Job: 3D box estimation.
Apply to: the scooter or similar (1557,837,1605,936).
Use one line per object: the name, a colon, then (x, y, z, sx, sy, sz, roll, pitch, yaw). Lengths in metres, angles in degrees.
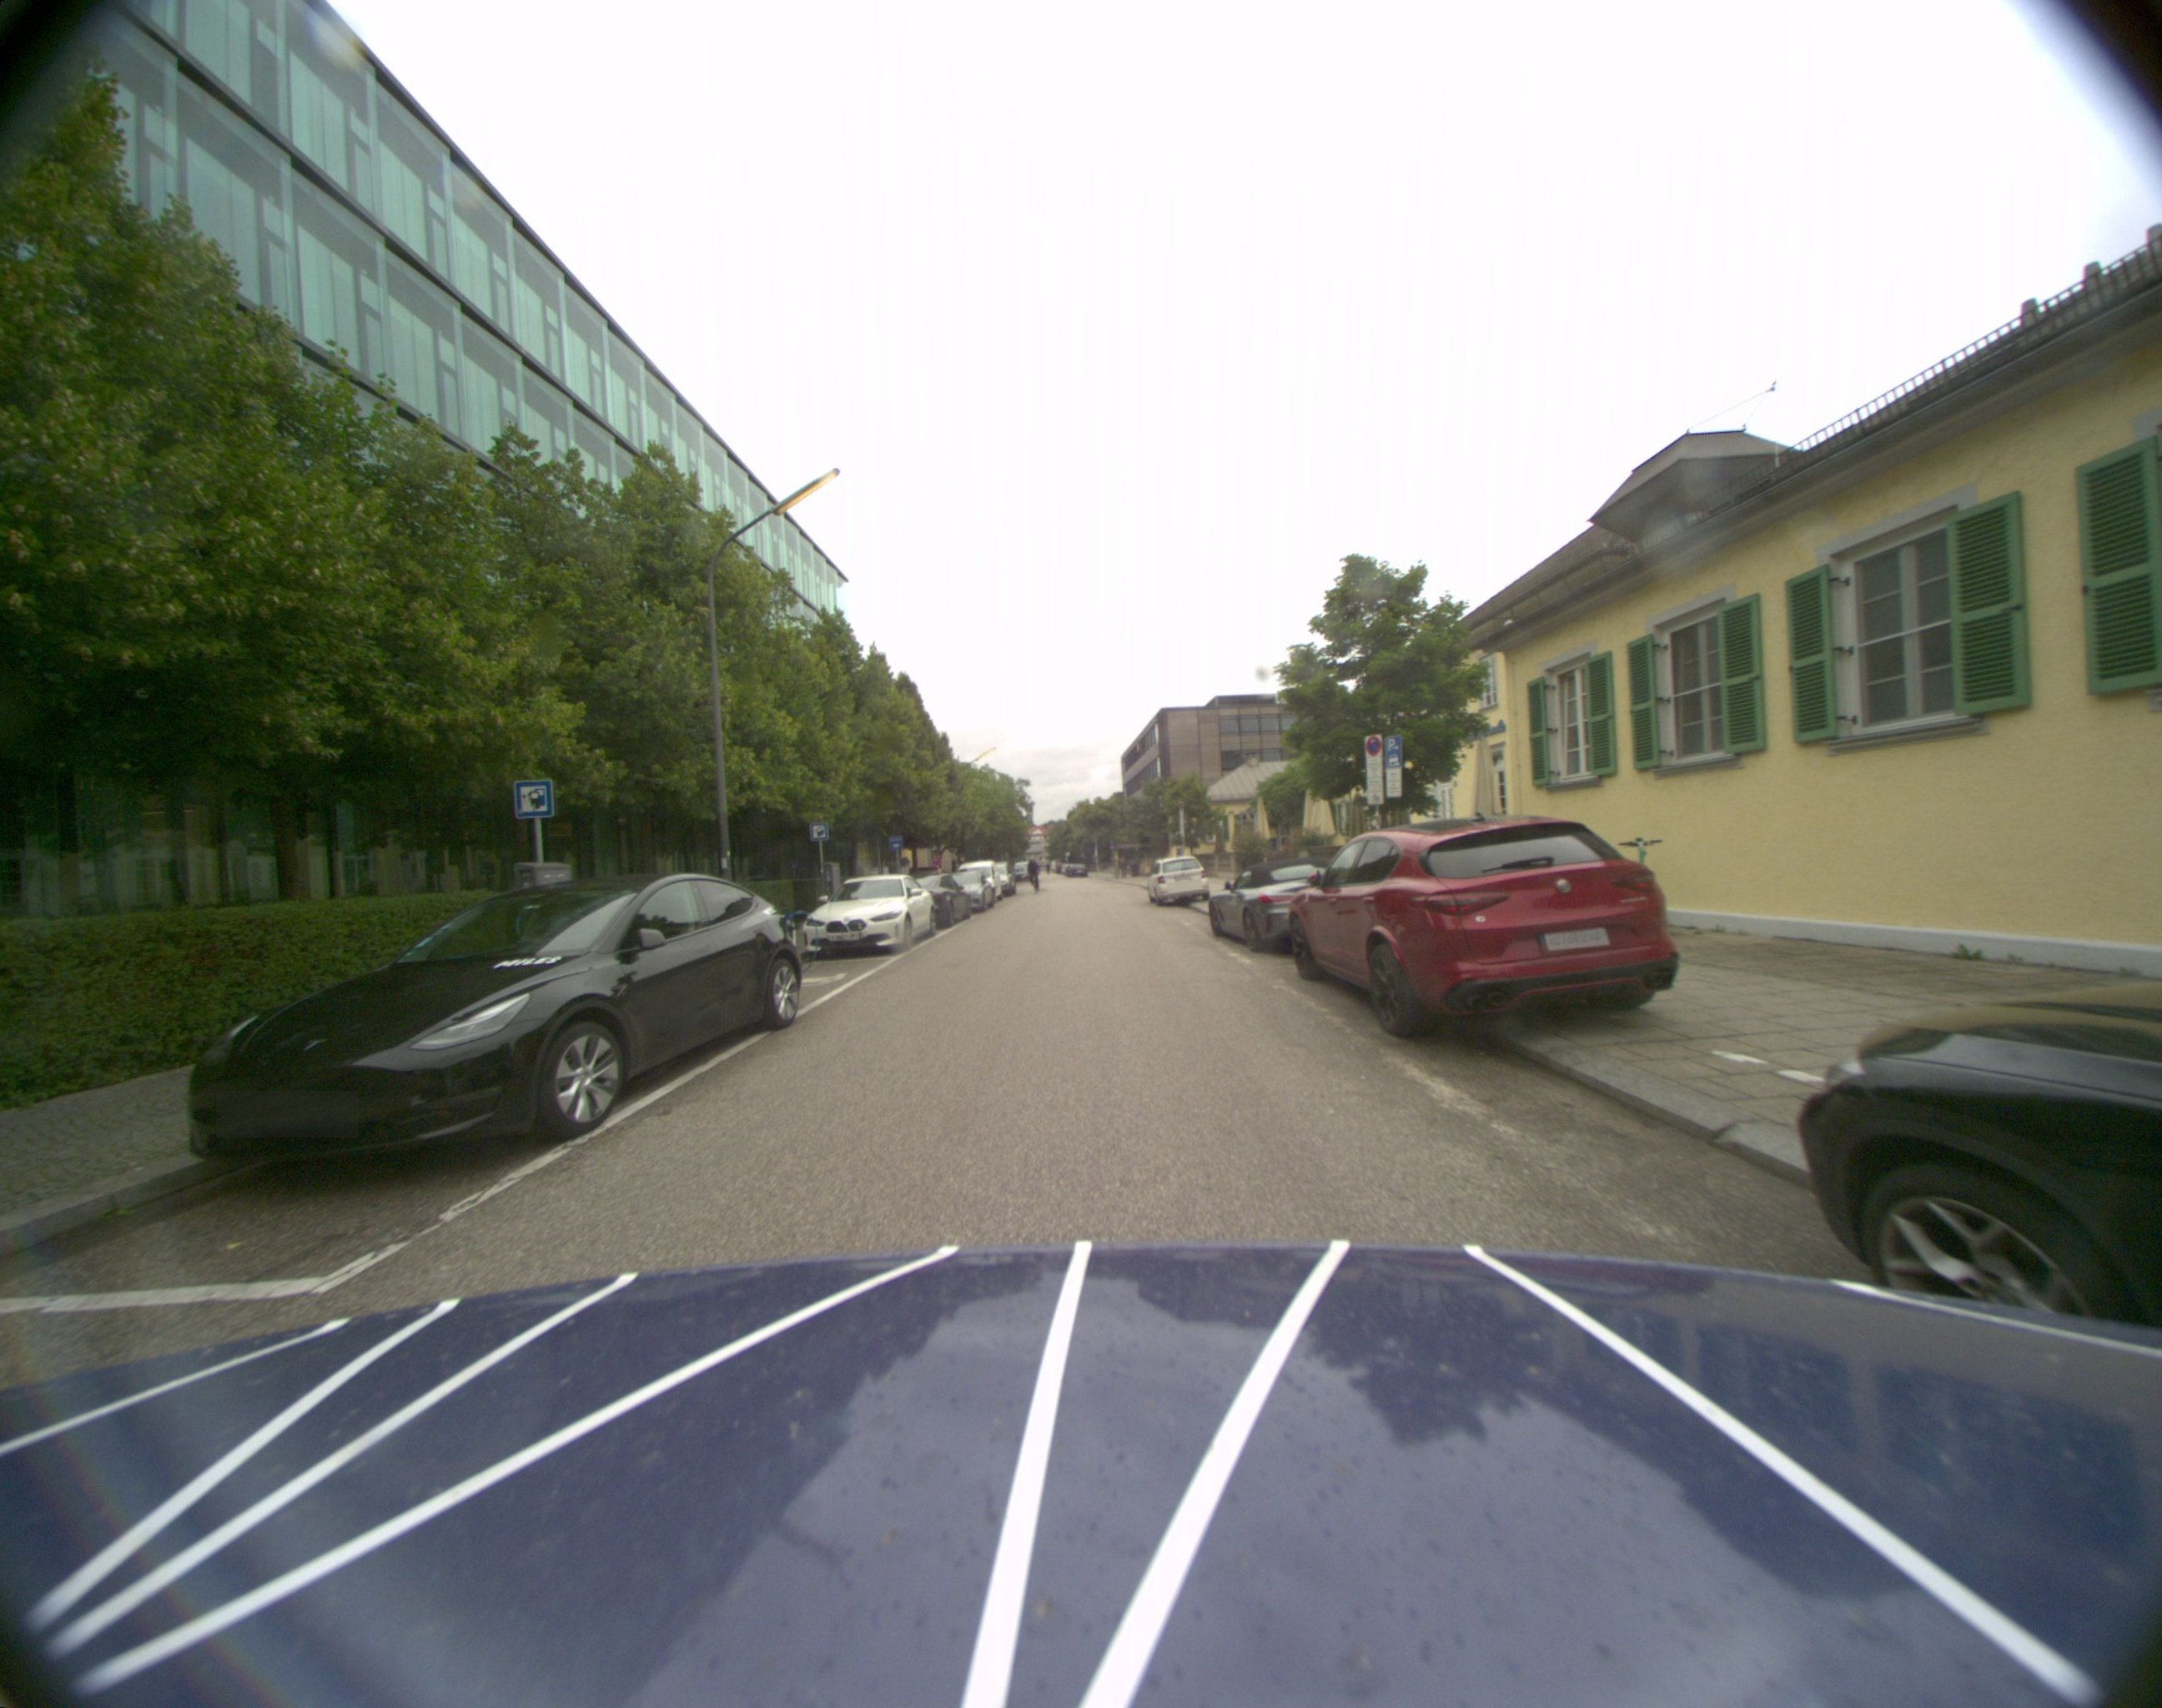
scooter or similar: (7.207, 0.440, 10.985, 0.375, 1.335, 1.355, -3, 0, 27)

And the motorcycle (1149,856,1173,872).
motorcycle: (6.180, 0.793, 58.749, 1.664, 1.106, 0.591, -6, 1, 40)

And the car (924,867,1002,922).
car: (-4.053, 1.335, 26.950, 1.952, 1.543, 5.004, -5, 0, -1)

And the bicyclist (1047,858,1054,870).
bicyclist: (-4.276, 1.405, 107.047, 0.904, 1.601, 1.067, -1, 0, -4)

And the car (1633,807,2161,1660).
car: (2.925, 0.706, 0.415, 1.850, 1.598, 4.743, -5, 0, 3)

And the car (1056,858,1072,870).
car: (-2.476, 1.410, 109.887, 1.999, 1.510, 3.999, -5, 0, -4)

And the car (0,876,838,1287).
car: (-3.918, 1.137, 6.060, 1.998, 1.621, 5.100, -5, 0, 3)

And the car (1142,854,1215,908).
car: (3.104, 0.822, 25.057, 1.729, 1.483, 4.461, -5, 0, 0)

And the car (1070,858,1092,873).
car: (-0.039, 1.191, 80.839, 1.929, 1.390, 4.485, -3, 0, -4)

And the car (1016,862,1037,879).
car: (-5.463, 1.642, 76.355, 1.959, 1.494, 4.485, -5, 0, -4)

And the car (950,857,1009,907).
car: (-4.299, 1.136, 32.830, 1.789, 1.884, 4.574, -5, 0, 0)

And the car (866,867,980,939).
car: (-4.191, 1.252, 21.059, 1.967, 1.543, 4.850, -5, 0, 1)

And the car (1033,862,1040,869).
car: (-14.069, 3.767, 241.470, 1.999, 2.002, 3.998, -5, 0, -5)

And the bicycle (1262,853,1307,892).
bicycle: (6.906, 0.624, 25.756, 1.571, 1.254, 0.569, -3, -1, -39)

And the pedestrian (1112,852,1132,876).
pedestrian: (3.602, 0.885, 67.395, 1.480, 2.002, 1.500, -5, 0, -4)

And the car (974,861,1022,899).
car: (-4.183, 1.273, 38.867, 1.872, 1.681, 4.784, -5, 0, -1)

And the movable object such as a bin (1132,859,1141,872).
movable object such as a bin: (4.637, 0.966, 63.635, 0.615, 1.102, 0.460, -5, 1, -4)

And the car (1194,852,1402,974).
car: (3.319, 0.815, 12.720, 1.901, 1.510, 4.654, -5, 0, -2)

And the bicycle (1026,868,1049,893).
bicycle: (-2.262, 1.359, 39.625, 0.720, 1.199, 1.802, -5, -1, 9)

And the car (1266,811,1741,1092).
car: (3.318, 0.636, 7.325, 1.906, 1.682, 4.809, -5, 0, 2)

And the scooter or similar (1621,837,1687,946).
scooter or similar: (7.290, 0.442, 9.701, 0.363, 1.306, 1.255, -3, 0, 25)

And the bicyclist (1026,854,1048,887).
bicyclist: (-2.297, 0.852, 39.662, 0.780, 1.657, 1.035, -5, -1, 9)

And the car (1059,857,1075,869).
car: (-1.981, 1.300, 105.498, 1.999, 1.555, 3.999, -3, 0, -4)

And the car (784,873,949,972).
car: (-4.125, 1.239, 15.600, 1.999, 1.451, 4.956, -5, 0, -2)

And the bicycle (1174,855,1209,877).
bicycle: (6.523, 0.699, 44.961, 1.847, 1.028, 0.466, -8, 0, -1)

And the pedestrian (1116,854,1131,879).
pedestrian: (3.581, 1.034, 63.595, 0.977, 2.002, 0.914, -5, 0, -4)

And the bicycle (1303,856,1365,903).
bicycle: (6.386, 0.639, 19.134, 1.637, 1.082, 0.636, -3, -1, -39)

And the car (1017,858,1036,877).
car: (-5.926, 1.469, 82.409, 1.831, 1.884, 4.485, -5, 0, -4)

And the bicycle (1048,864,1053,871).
bicycle: (-4.260, 1.885, 106.936, 0.607, 1.014, 2.307, -1, 0, -4)
